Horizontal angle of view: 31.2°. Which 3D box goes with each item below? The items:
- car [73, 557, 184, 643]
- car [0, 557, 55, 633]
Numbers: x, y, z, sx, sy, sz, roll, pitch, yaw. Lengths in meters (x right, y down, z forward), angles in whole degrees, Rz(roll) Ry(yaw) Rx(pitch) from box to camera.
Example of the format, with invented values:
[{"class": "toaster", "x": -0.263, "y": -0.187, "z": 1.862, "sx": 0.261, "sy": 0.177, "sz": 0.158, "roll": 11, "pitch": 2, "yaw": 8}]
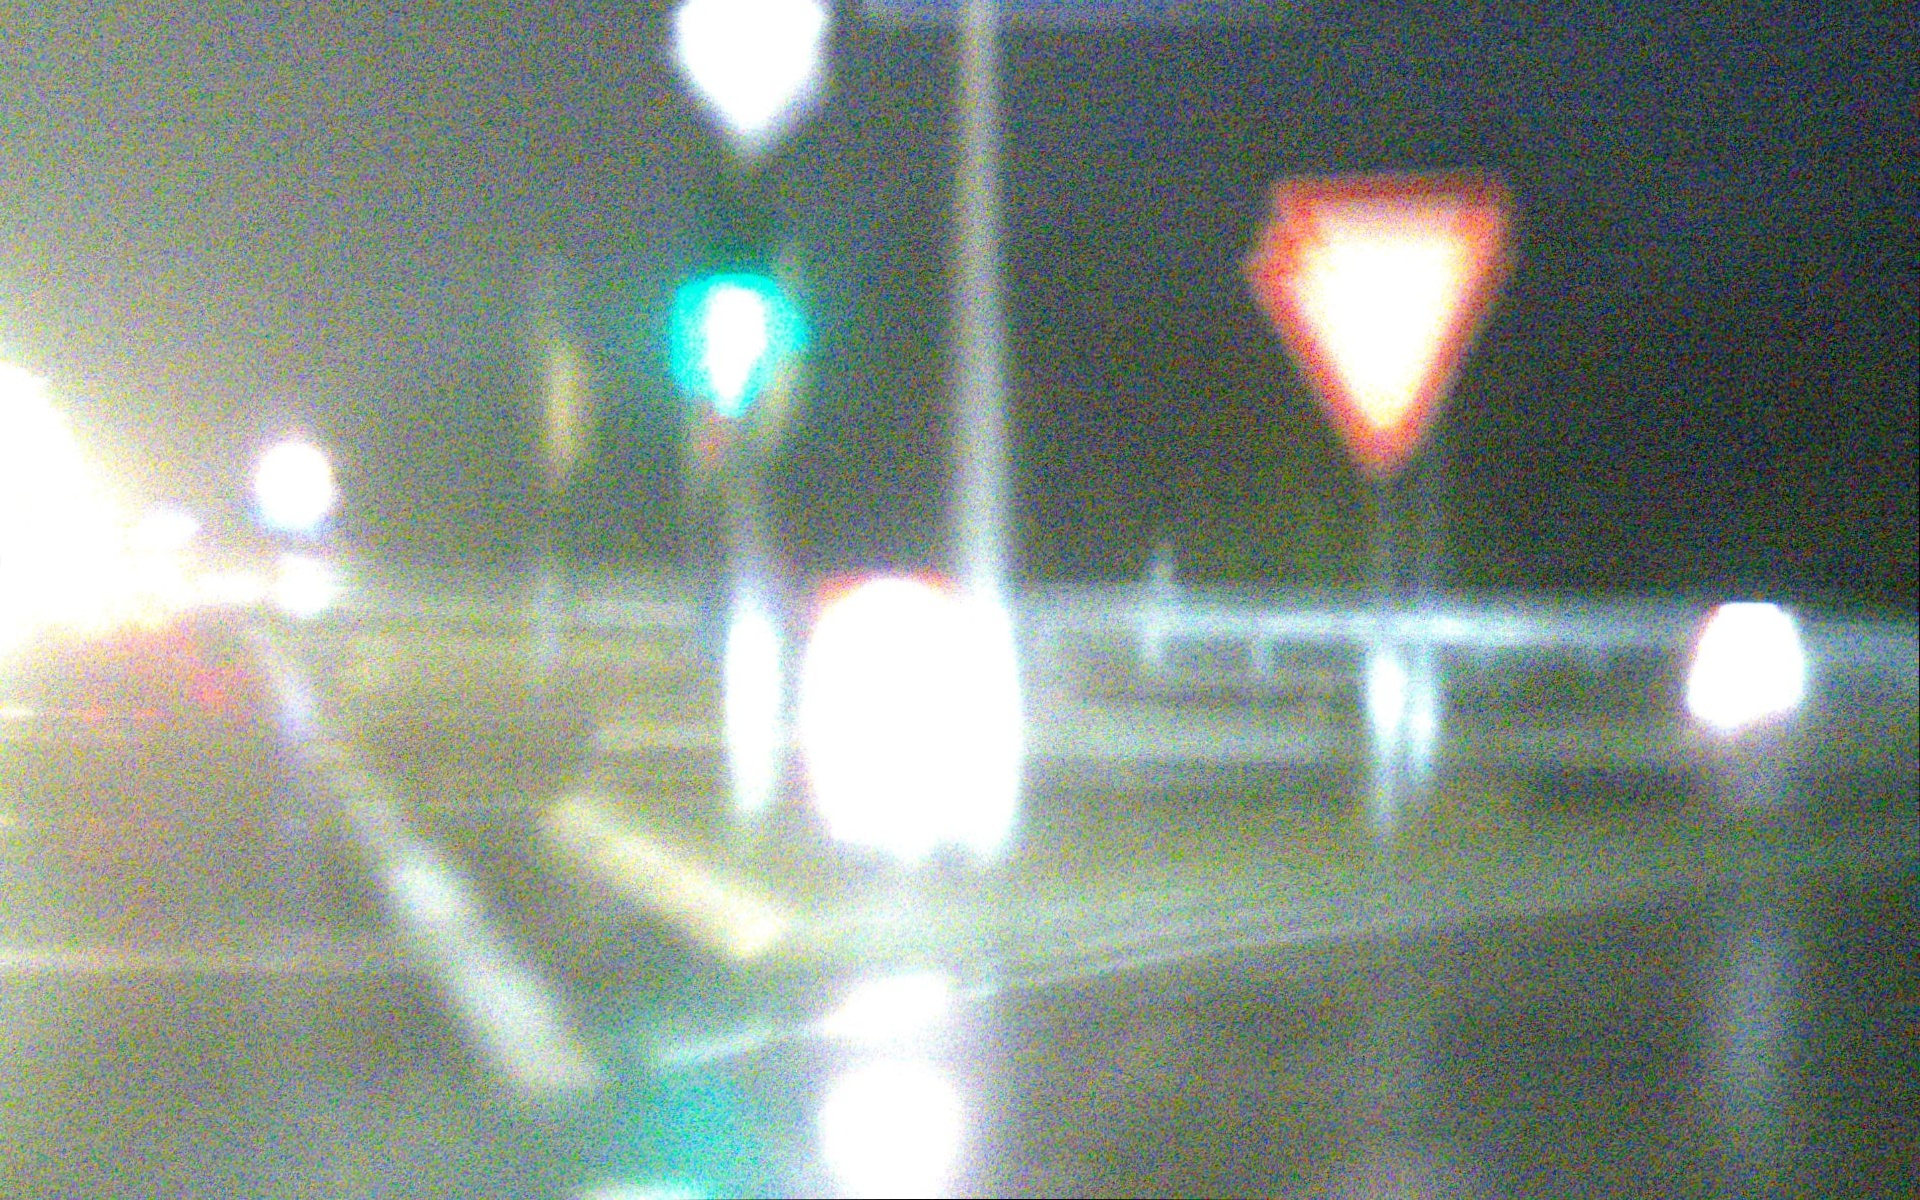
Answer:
[{"class": "car", "x": -18.061, "y": 0.030, "z": 74.813, "sx": 1.909, "sy": 1.596, "sz": 4.000, "roll": 5, "pitch": -3, "yaw": -9}, {"class": "car", "x": -22.773, "y": -0.138, "z": 81.673, "sx": 2.177, "sy": 1.596, "sz": 4.001, "roll": 5, "pitch": -3, "yaw": -12}]
